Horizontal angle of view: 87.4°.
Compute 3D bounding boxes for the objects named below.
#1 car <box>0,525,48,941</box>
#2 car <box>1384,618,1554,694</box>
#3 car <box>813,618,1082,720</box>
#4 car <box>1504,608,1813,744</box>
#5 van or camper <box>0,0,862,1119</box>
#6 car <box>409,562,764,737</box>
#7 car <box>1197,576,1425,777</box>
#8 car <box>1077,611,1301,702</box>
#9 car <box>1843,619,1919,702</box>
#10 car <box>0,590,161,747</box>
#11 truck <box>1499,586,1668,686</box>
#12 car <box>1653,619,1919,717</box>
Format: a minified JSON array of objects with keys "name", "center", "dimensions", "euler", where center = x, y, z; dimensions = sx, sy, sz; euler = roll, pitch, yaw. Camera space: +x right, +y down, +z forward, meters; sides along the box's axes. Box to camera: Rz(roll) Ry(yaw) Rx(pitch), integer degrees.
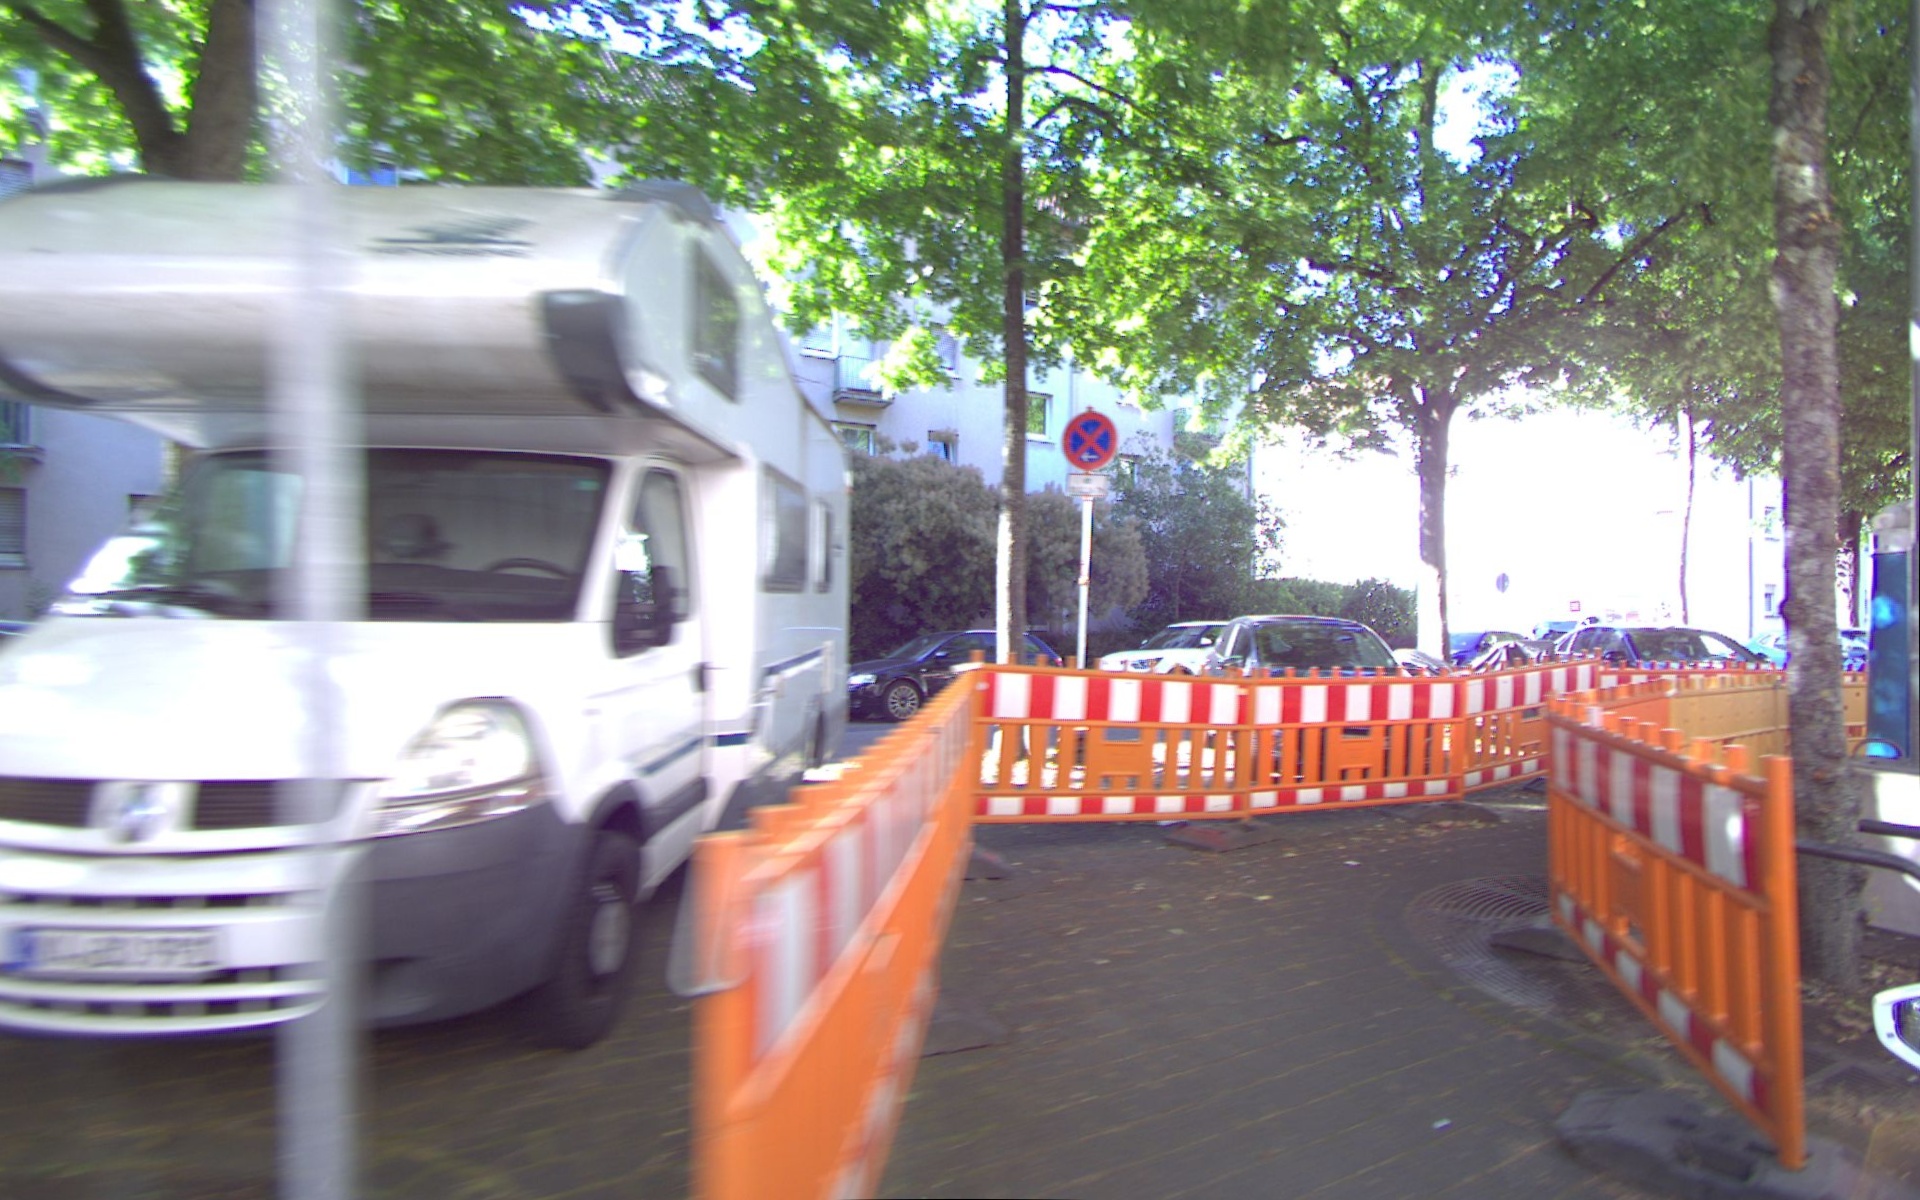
[{"name":"car","center":[-4.549,0.475,2.097],"dimensions":[1.763,1.638,3.998],"euler":[1,-1,-4]},{"name":"car","center":[11.958,1.281,23.539],"dimensions":[4.146,1.595,1.612],"euler":[2,0,-32]},{"name":"car","center":[-0.164,1.069,16.377],"dimensions":[4.077,1.462,1.711],"euler":[2,-1,-30]},{"name":"car","center":[9.140,0.927,13.596],"dimensions":[1.637,1.539,4.002],"euler":[1,-1,4]},{"name":"van or camper","center":[-2.008,-0.117,5.629],"dimensions":[2.352,3.041,6.034],"euler":[1,-1,-1]},{"name":"car","center":[-4.936,0.616,13.482],"dimensions":[4.219,2.040,1.612],"euler":[2,0,-32]},{"name":"car","center":[3.434,0.701,10.323],"dimensions":[1.393,1.739,2.994],"euler":[1,-1,3]},{"name":"car","center":[4.374,1.029,19.074],"dimensions":[4.063,1.579,1.711],"euler":[2,-1,-30]},{"name":"car","center":[19.870,1.191,19.447],"dimensions":[1.666,1.647,4.130],"euler":[1,-1,-6]},{"name":"car","center":[-10.679,0.651,10.003],"dimensions":[3.952,1.505,1.985],"euler":[1,-1,-30]},{"name":"truck","center":[16.323,0.944,26.280],"dimensions":[4.209,2.441,1.914],"euler":[1,-1,-28]},{"name":"car","center":[14.314,1.094,17.417],"dimensions":[1.548,1.480,3.908],"euler":[1,-1,-8]}]
